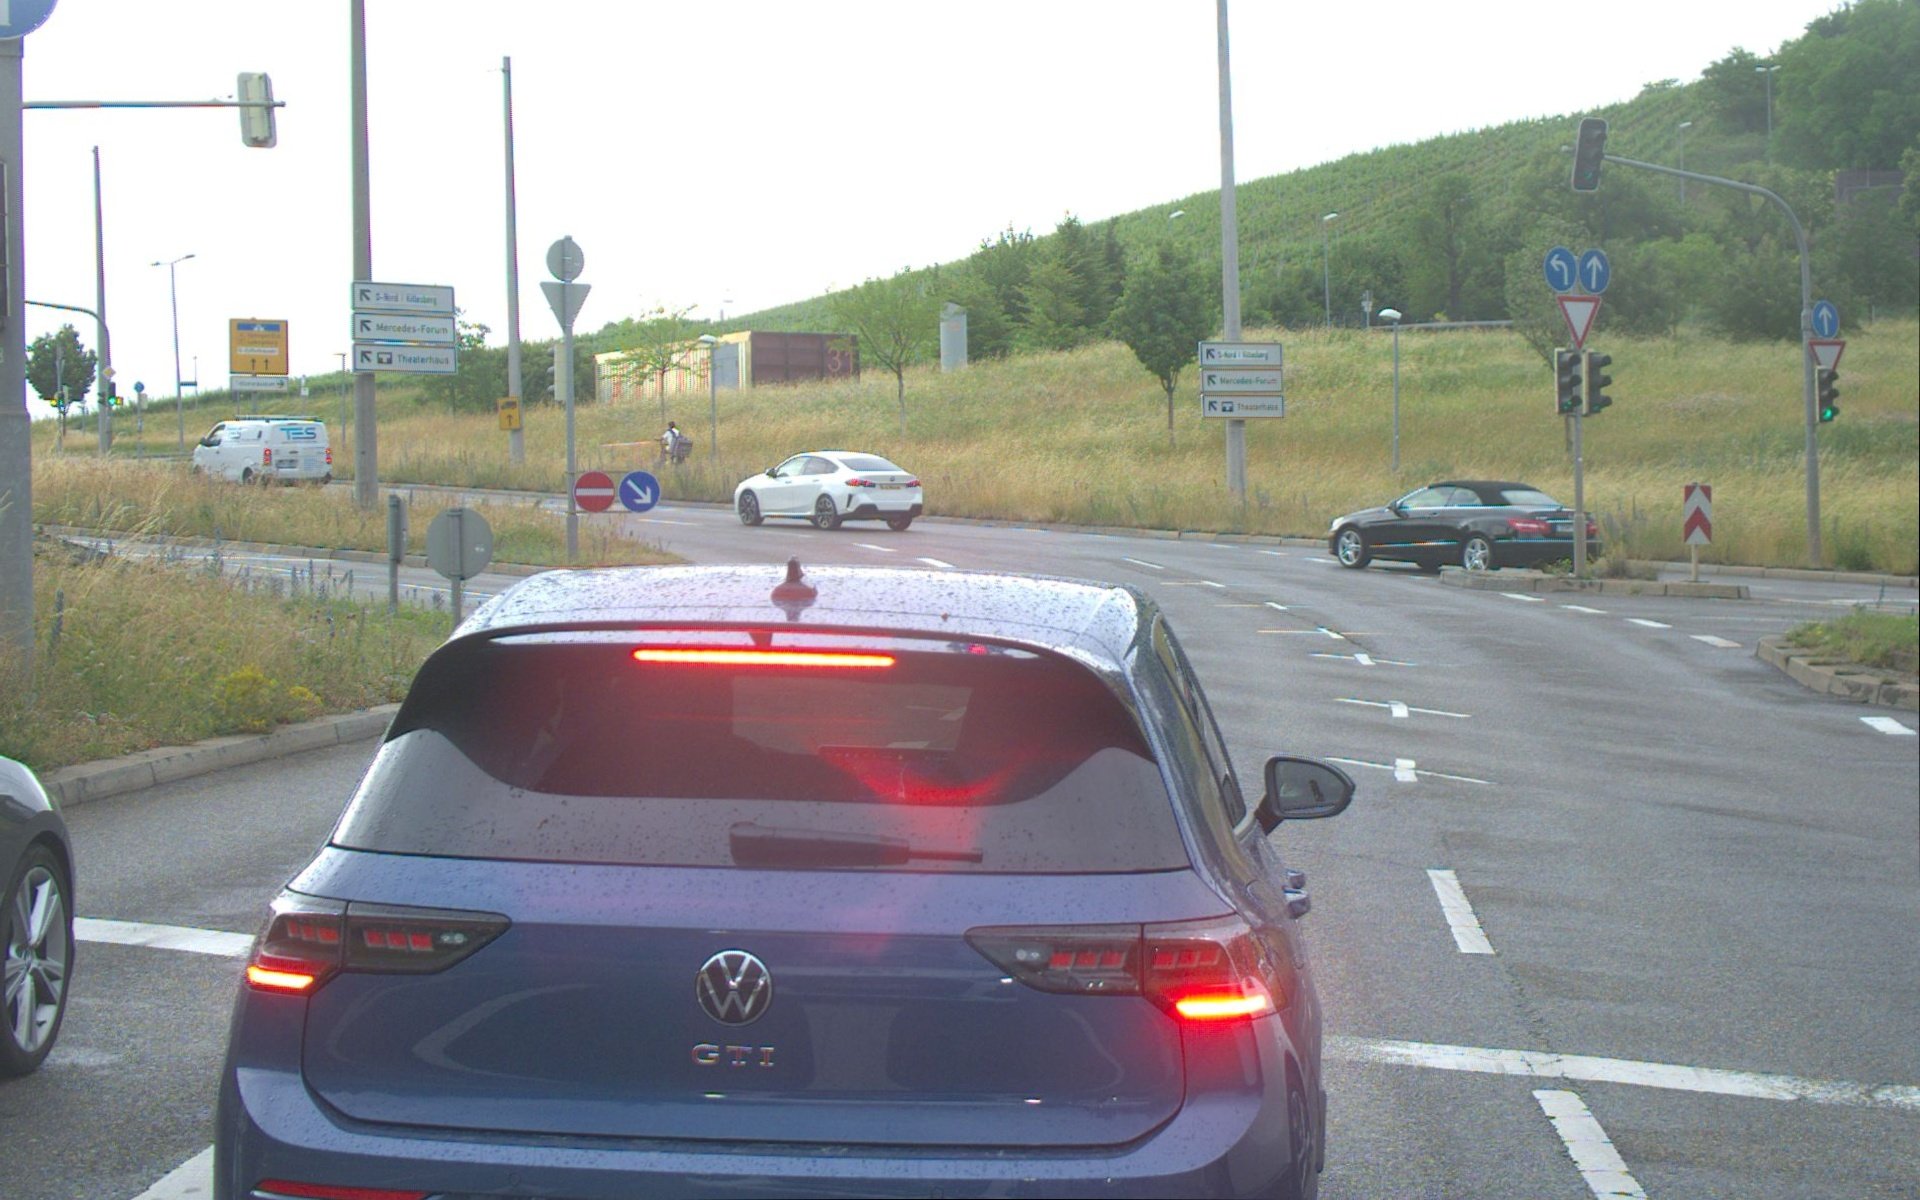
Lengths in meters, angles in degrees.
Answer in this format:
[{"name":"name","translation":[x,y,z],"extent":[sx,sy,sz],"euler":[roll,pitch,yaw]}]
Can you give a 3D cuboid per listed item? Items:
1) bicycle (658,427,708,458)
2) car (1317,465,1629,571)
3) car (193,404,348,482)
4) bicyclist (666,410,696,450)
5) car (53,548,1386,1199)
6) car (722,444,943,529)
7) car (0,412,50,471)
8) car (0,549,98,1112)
[{"name":"bicycle","translation":[-7.553,-4.288,93.606],"extent":[0.518,0.772,1.621],"euler":[2,2,-37]},{"name":"car","translation":[7.542,-1.188,50.915],"extent":[1.994,1.472,4.502],"euler":[1,0,-36]},{"name":"car","translation":[-17.432,-3.933,86.755],"extent":[2.129,1.788,4.740],"euler":[1,0,-34]},{"name":"bicyclist","translation":[-7.597,-4.626,93.703],"extent":[0.523,1.043,0.580],"euler":[3,1,-38]},{"name":"car","translation":[-0.235,0.655,6.607],"extent":[1.825,1.455,3.808],"euler":[1,1,3]},{"name":"car","translation":[-2.439,-2.108,64.867],"extent":[1.994,1.472,4.420],"euler":[1,0,-37]},{"name":"car","translation":[-29.947,-4.890,106.285],"extent":[1.994,1.654,4.544],"euler":[1,0,-36]},{"name":"car","translation":[-3.381,0.595,7.698],"extent":[1.703,1.455,4.114],"euler":[0,0,2]}]
